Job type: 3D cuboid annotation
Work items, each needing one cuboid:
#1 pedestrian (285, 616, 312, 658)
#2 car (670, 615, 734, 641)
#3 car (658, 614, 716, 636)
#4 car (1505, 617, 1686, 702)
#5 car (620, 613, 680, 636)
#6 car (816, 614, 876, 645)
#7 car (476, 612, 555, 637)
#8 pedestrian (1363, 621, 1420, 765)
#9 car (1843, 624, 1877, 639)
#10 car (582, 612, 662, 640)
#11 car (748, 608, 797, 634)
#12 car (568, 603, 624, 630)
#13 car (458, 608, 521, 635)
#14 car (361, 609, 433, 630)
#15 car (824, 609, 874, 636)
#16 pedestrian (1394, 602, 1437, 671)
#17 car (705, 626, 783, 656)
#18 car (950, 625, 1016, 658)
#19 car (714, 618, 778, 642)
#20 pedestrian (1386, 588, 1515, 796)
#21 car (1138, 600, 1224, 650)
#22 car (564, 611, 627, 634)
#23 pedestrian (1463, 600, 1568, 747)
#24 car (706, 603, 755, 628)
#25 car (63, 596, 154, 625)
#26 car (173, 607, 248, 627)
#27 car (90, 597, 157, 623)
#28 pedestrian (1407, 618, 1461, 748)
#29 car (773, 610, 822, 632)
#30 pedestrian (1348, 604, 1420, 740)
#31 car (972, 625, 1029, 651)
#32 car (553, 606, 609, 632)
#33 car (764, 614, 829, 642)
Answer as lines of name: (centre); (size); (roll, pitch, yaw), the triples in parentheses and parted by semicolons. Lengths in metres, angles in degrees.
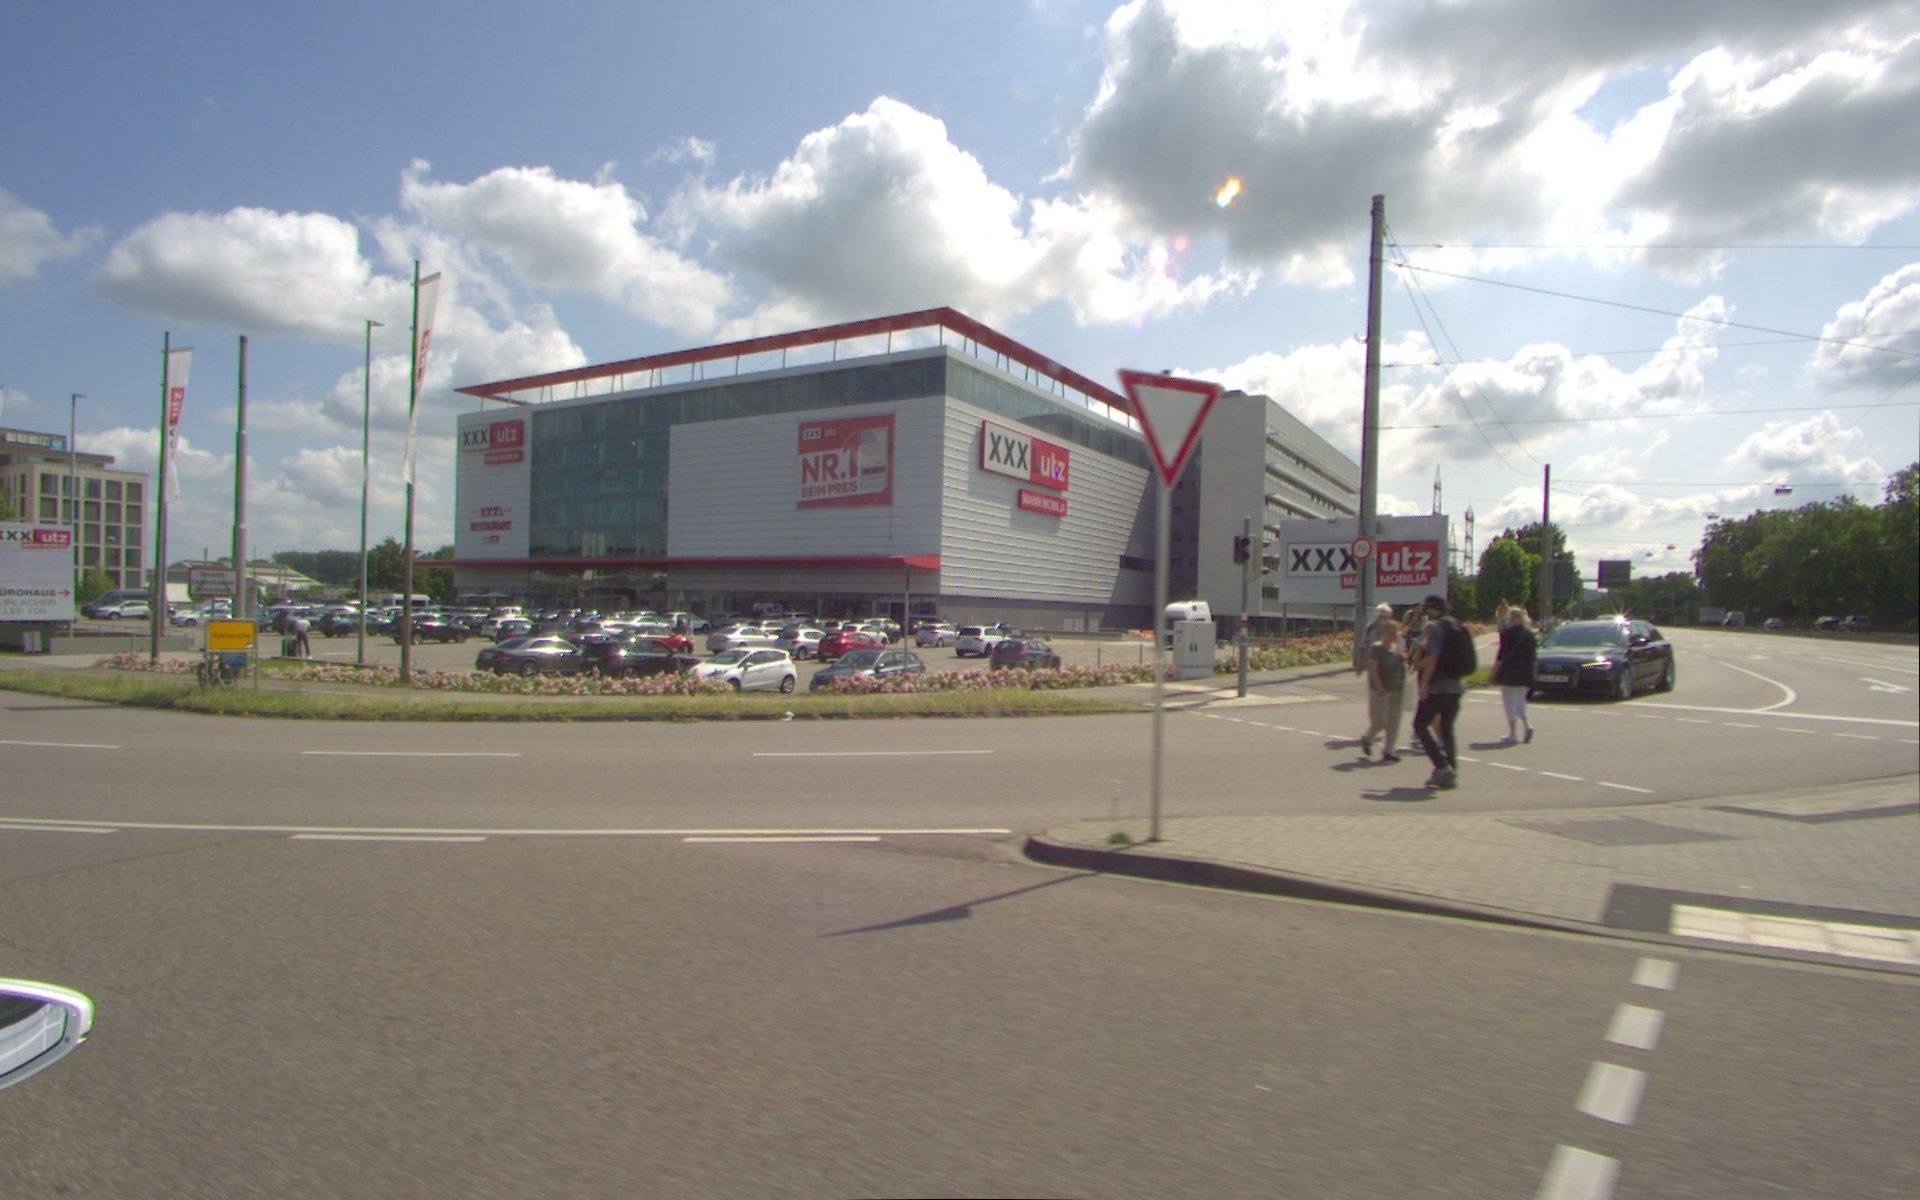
pedestrian: (-28.773, 1.615, 43.568); (0.859, 1.805, 0.780); (2, -1, -28)
car: (-16.949, 1.852, 65.966); (1.670, 1.608, 4.010); (2, -1, 31)
car: (-21.124, 1.959, 77.691); (1.681, 1.530, 4.334); (2, -2, 31)
car: (12.604, 1.103, 19.775); (4.156, 1.502, 1.900); (1, -1, -40)
car: (-22.114, 1.730, 71.645); (1.679, 1.531, 4.149); (2, 1, 28)
car: (-7.763, 2.056, 68.425); (1.972, 2.039, 3.981); (0, -2, 32)
car: (-27.933, 1.539, 63.025); (1.733, 1.446, 4.282); (3, 0, 32)
pedestrian: (4.829, 1.025, 11.230); (0.460, 1.543, 0.556); (2, -1, 14)
car: (88.075, 3.110, 98.034); (1.613, 1.382, 3.729); (2, -2, 29)
car: (-19.578, 1.532, 58.130); (1.799, 1.527, 4.143); (1, -2, 32)
car: (-16.089, 1.828, 85.949); (1.970, 2.039, 3.983); (2, -1, 30)
car: (-30.144, 1.375, 83.070); (1.971, 2.039, 3.982); (2, -1, 32)
car: (-36.319, 1.645, 77.393); (1.971, 2.040, 3.980); (0, -1, 32)
car: (-40.195, 1.399, 71.571); (1.734, 1.483, 4.234); (0, -1, 31)
car: (-8.992, 1.807, 81.307); (1.971, 2.039, 3.982); (2, -1, 32)
pedestrian: (10.582, 0.838, 23.274); (0.498, 1.557, 0.684); (3, 1, -18)
car: (-11.228, 2.114, 52.300); (1.580, 1.381, 4.015); (2, 1, 34)
car: (1.281, 2.227, 54.387); (1.824, 1.608, 4.222); (2, -1, 29)
car: (-14.210, 2.007, 66.598); (1.971, 1.527, 3.980); (0, -1, 32)
pedestrian: (4.561, 0.817, 9.322); (0.810, 1.826, 0.756); (1, 0, -31)
car: (15.291, 1.724, 68.867); (3.080, 3.195, 7.860); (0, -2, 35)
car: (-27.041, 1.680, 74.366); (1.825, 1.609, 4.219); (2, 0, 30)
pedestrian: (7.094, 0.895, 12.804); (0.850, 1.789, 0.861); (-1, 1, -31)
car: (-20.289, 1.369, 88.611); (1.970, 2.039, 3.983); (2, -1, 30)
car: (-73.247, 0.914, 86.251); (2.031, 2.397, 5.652); (0, -1, 30)
car: (-56.900, 1.280, 76.081); (1.864, 1.408, 4.179); (1, 0, 29)
car: (-70.579, 0.839, 84.541); (1.971, 2.040, 3.979); (1, 0, 32)
pedestrian: (5.825, 1.000, 12.296); (0.463, 1.544, 0.581); (0, 0, 41)
car: (-13.712, 1.786, 84.495); (1.970, 1.745, 3.983); (2, -1, 30)
pedestrian: (5.648, 0.939, 13.340); (0.693, 1.750, 0.683); (-1, -1, 43)
car: (2.563, 2.365, 62.217); (1.890, 1.459, 3.985); (1, -2, 29)
car: (-32.091, 1.630, 84.901); (1.971, 2.039, 3.982); (2, -1, 32)
car: (-10.493, 1.800, 64.402); (1.972, 1.761, 3.978); (0, -2, 34)
